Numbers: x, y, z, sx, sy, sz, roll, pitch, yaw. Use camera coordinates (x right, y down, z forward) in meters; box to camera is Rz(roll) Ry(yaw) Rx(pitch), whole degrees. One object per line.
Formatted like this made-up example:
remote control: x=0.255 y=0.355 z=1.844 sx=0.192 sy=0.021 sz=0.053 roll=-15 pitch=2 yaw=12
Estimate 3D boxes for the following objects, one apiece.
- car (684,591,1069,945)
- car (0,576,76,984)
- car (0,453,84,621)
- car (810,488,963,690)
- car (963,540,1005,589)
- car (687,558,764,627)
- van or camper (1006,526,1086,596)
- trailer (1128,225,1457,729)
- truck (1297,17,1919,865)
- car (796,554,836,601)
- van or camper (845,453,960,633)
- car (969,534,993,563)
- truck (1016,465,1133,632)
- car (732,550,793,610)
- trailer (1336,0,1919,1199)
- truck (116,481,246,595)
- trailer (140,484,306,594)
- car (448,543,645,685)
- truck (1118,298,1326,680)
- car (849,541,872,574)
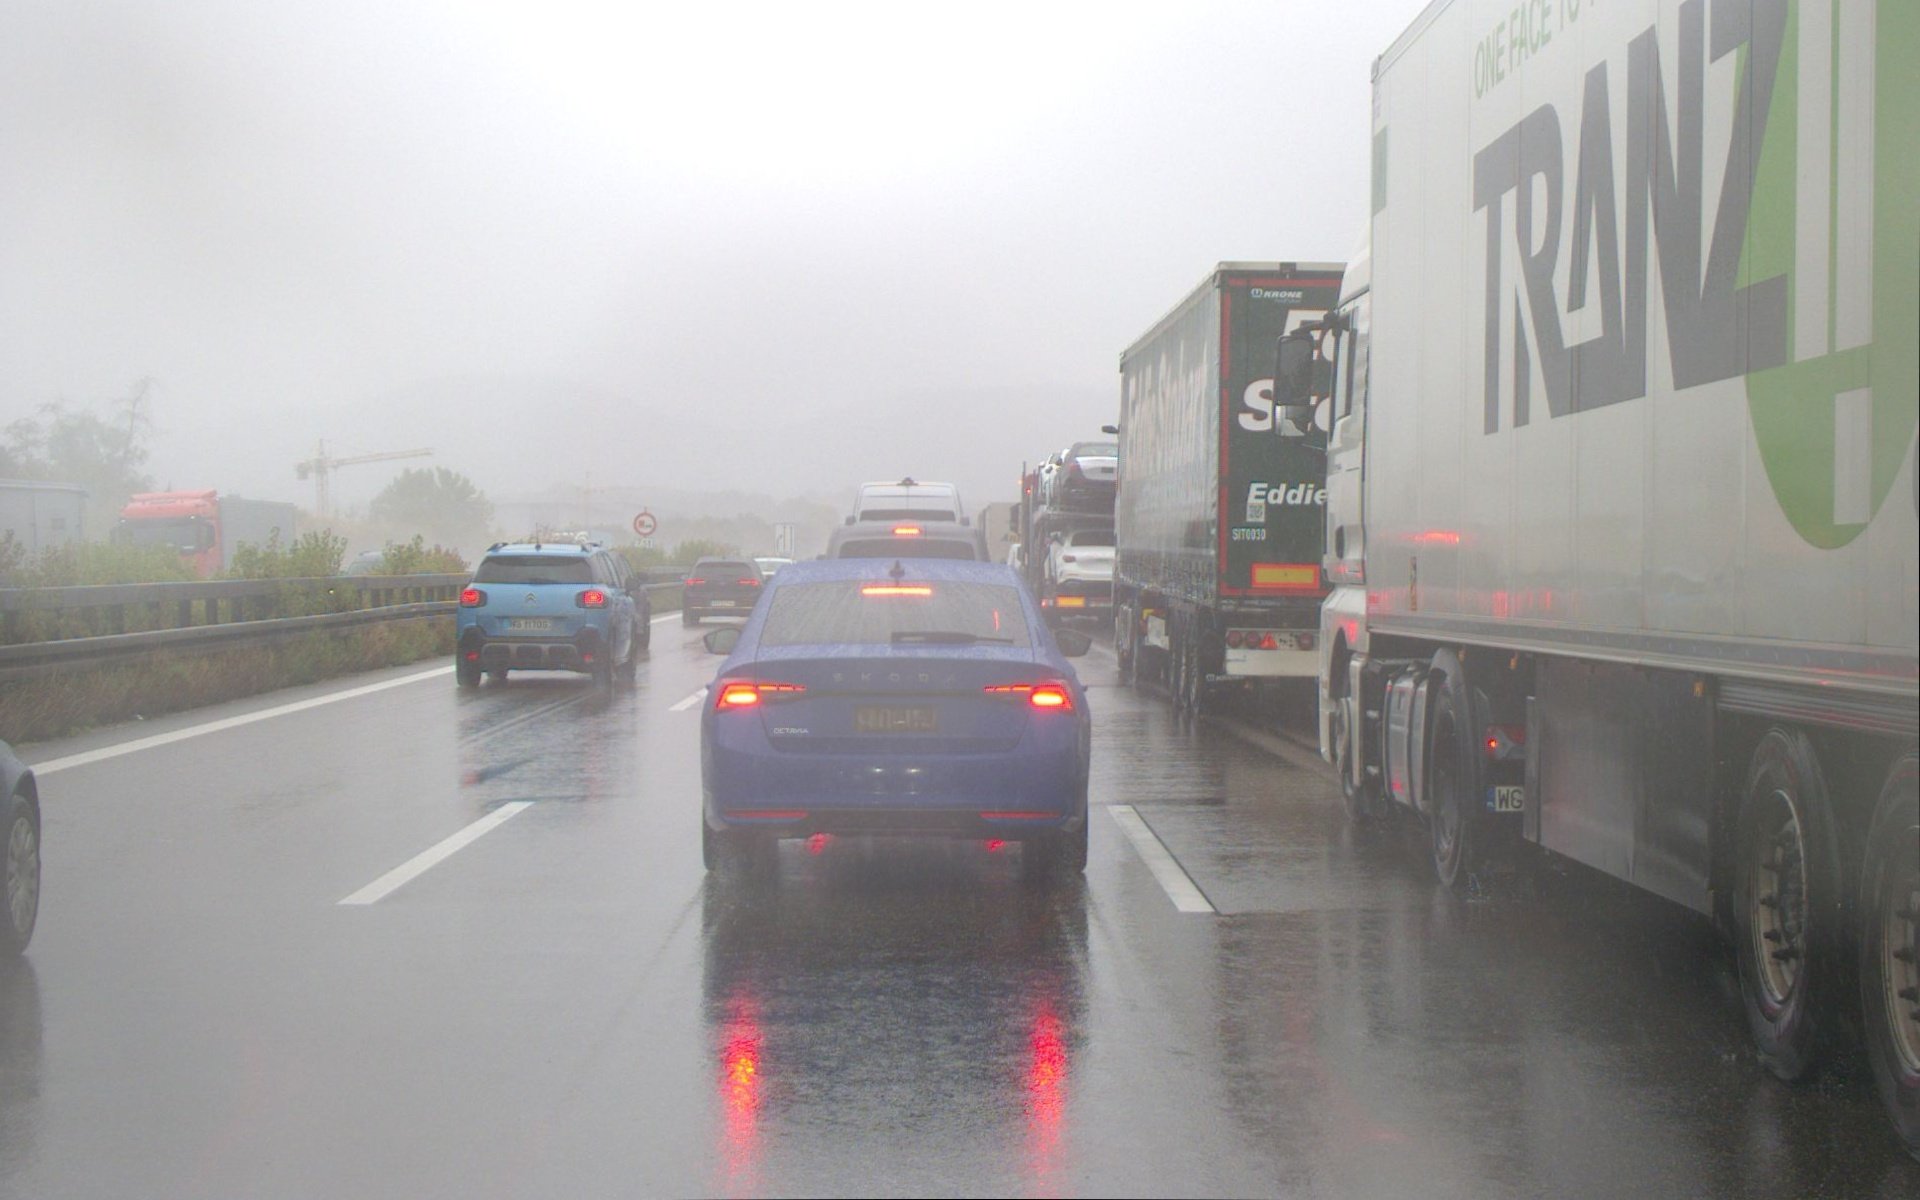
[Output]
car: x=-0.346 y=0.709 z=16.590 sx=1.635 sy=1.440 sz=4.000 roll=0 pitch=1 yaw=0
car: x=-4.177 y=0.643 z=10.720 sx=1.718 sy=1.395 sz=4.230 roll=0 pitch=1 yaw=1
car: x=-22.017 y=-1.398 z=76.040 sx=2.686 sy=3.599 sz=10.974 roll=1 pitch=1 yaw=-1
car: x=-0.663 y=-0.132 z=31.841 sx=1.336 sy=1.773 sz=3.322 roll=0 pitch=1 yaw=0
car: x=0.862 y=-1.308 z=125.870 sx=1.448 sy=1.777 sz=3.409 roll=1 pitch=1 yaw=0
car: x=-5.008 y=-0.175 z=73.725 sx=1.439 sy=1.415 sz=3.322 roll=0 pitch=1 yaw=0
van or camper: x=2.072 y=-0.980 z=83.931 sx=1.771 sy=1.619 sz=4.484 roll=0 pitch=2 yaw=-1
trailer: x=3.034 y=-1.144 z=34.206 sx=2.047 sy=4.162 sz=11.449 roll=0 pitch=1 yaw=0
truck: x=3.334 y=-0.766 z=17.902 sx=2.630 sy=3.814 sz=4.791 roll=0 pitch=1 yaw=0
car: x=-5.598 y=-0.882 z=134.059 sx=1.448 sy=1.777 sz=3.409 roll=1 pitch=1 yaw=0
van or camper: x=-0.920 y=-0.944 z=56.006 sx=1.797 sy=2.797 sz=4.768 roll=0 pitch=1 yaw=0
car: x=1.338 y=-3.268 z=217.546 sx=1.448 sy=1.777 sz=3.409 roll=1 pitch=1 yaw=0
truck: x=2.404 y=-1.161 z=74.042 sx=1.993 sy=3.410 sz=8.033 roll=0 pitch=2 yaw=-2
car: x=-5.208 y=-0.544 z=90.864 sx=1.439 sy=1.528 sz=3.322 roll=0 pitch=1 yaw=0
trailer: x=3.398 y=-0.679 z=11.075 sx=2.630 sy=3.999 sz=14.630 roll=0 pitch=1 yaw=0
truck: x=-22.208 y=-1.755 z=98.192 sx=2.686 sy=3.141 sz=4.605 roll=1 pitch=1 yaw=0
trailer: x=-22.240 y=-1.821 z=104.301 sx=2.686 sy=3.141 sz=11.085 roll=1 pitch=1 yaw=0
car: x=-4.631 y=0.114 z=39.001 sx=1.722 sy=1.518 sz=4.000 roll=0 pitch=1 yaw=1
truck: x=2.960 y=-1.255 z=39.637 sx=2.047 sy=4.178 sz=4.000 roll=0 pitch=1 yaw=0
car: x=-5.450 y=-2.344 z=187.949 sx=1.192 sy=1.744 sz=3.076 roll=0 pitch=2 yaw=-1
